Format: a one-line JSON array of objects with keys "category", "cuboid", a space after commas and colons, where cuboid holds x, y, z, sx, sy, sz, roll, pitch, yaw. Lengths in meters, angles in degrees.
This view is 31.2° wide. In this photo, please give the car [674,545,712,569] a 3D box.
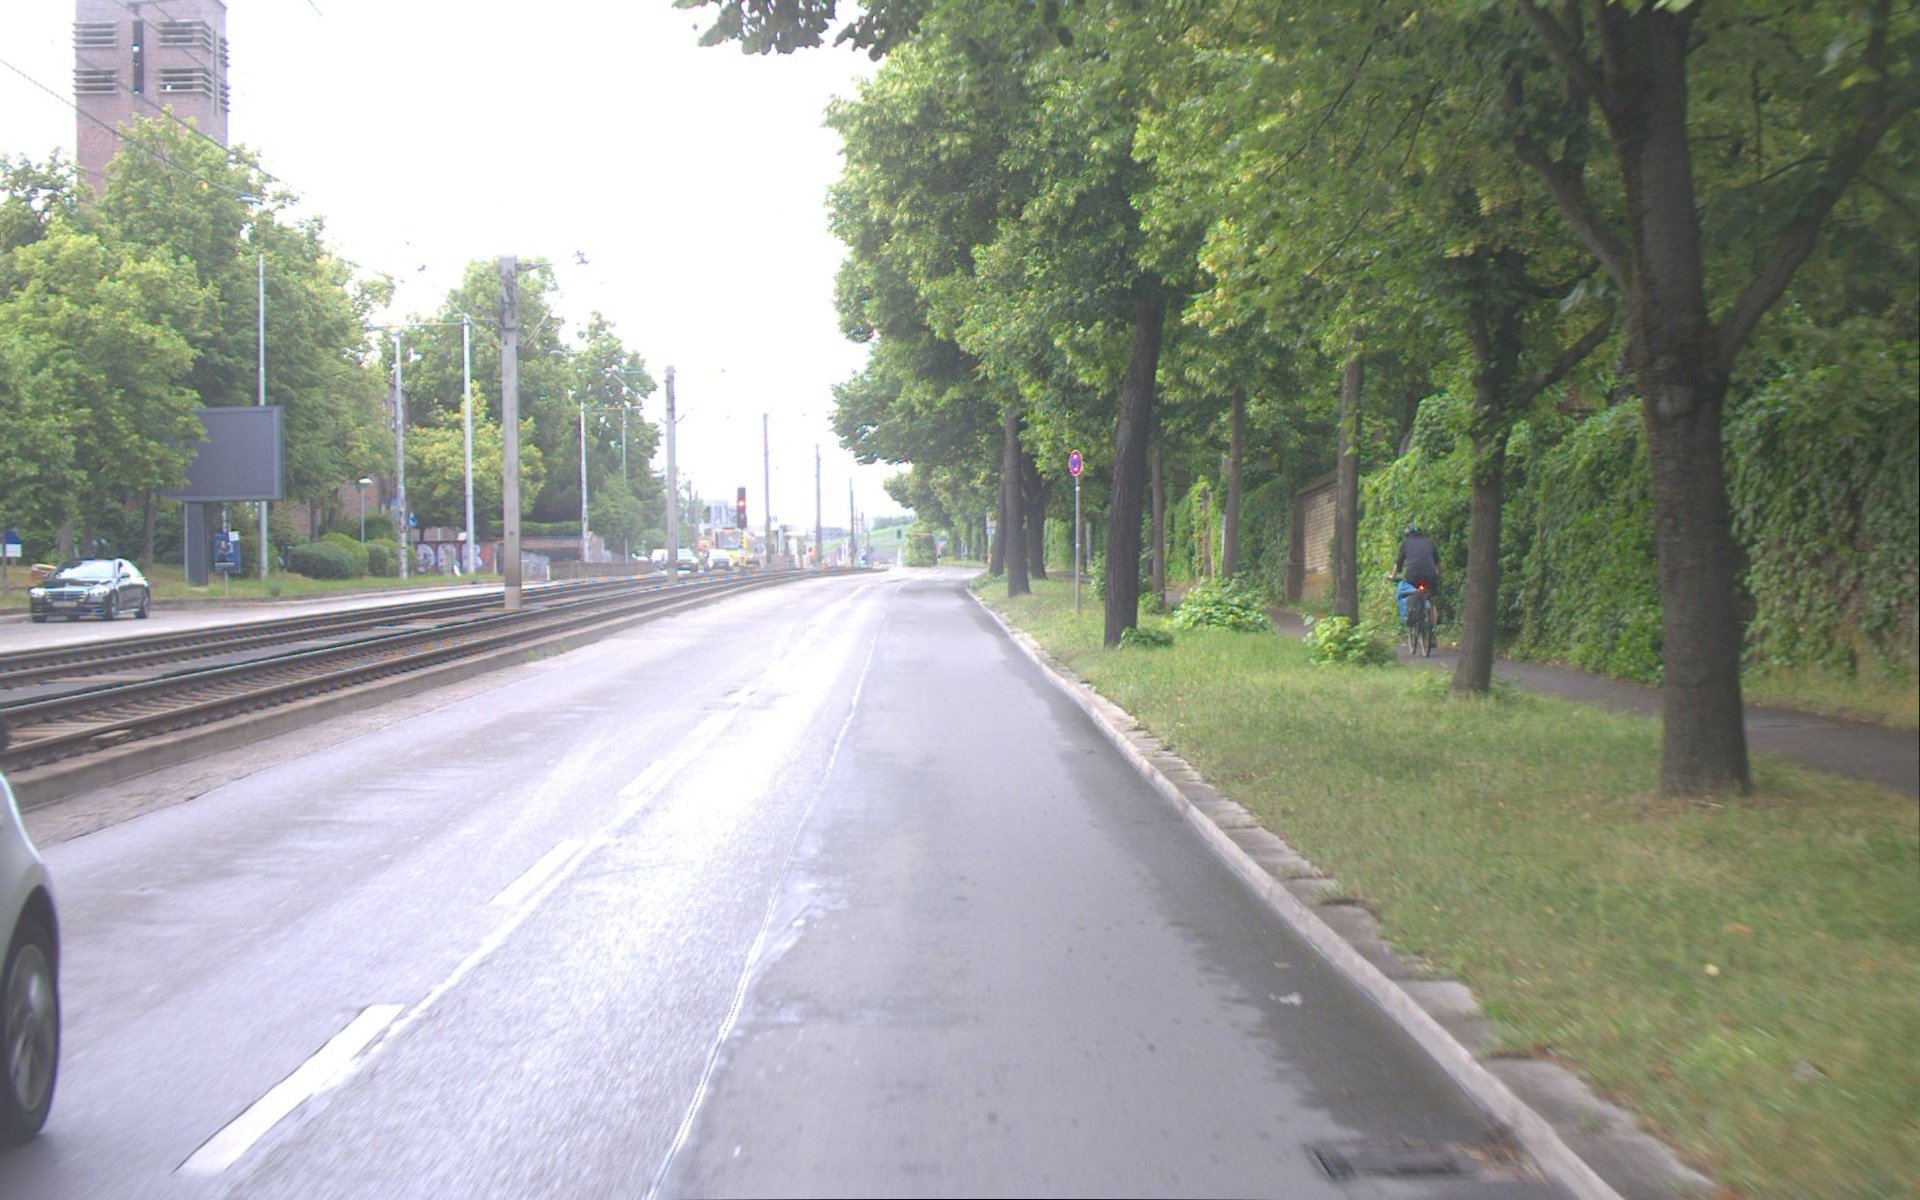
[{"category": "car", "cuboid": [-18.629, -3.038, 240.020, 2.013, 1.650, 4.616, 0, 1, 3]}]

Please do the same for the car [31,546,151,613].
[{"category": "car", "cuboid": [-20.517, -0.504, 81.335, 1.794, 1.525, 4.622, 0, 1, -2]}]

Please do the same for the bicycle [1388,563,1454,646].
[{"category": "bicycle", "cuboid": [5.531, 0.043, 41.333, 0.543, 0.945, 2.549, 0, 1, 3]}]

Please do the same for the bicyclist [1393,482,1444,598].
[{"category": "bicyclist", "cuboid": [5.511, -0.722, 41.361, 0.535, 1.385, 0.666, 0, 1, 2]}]

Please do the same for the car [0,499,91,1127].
[{"category": "car", "cuboid": [-3.163, 0.550, 7.408, 1.676, 1.525, 3.722, -1, 1, -1]}]
